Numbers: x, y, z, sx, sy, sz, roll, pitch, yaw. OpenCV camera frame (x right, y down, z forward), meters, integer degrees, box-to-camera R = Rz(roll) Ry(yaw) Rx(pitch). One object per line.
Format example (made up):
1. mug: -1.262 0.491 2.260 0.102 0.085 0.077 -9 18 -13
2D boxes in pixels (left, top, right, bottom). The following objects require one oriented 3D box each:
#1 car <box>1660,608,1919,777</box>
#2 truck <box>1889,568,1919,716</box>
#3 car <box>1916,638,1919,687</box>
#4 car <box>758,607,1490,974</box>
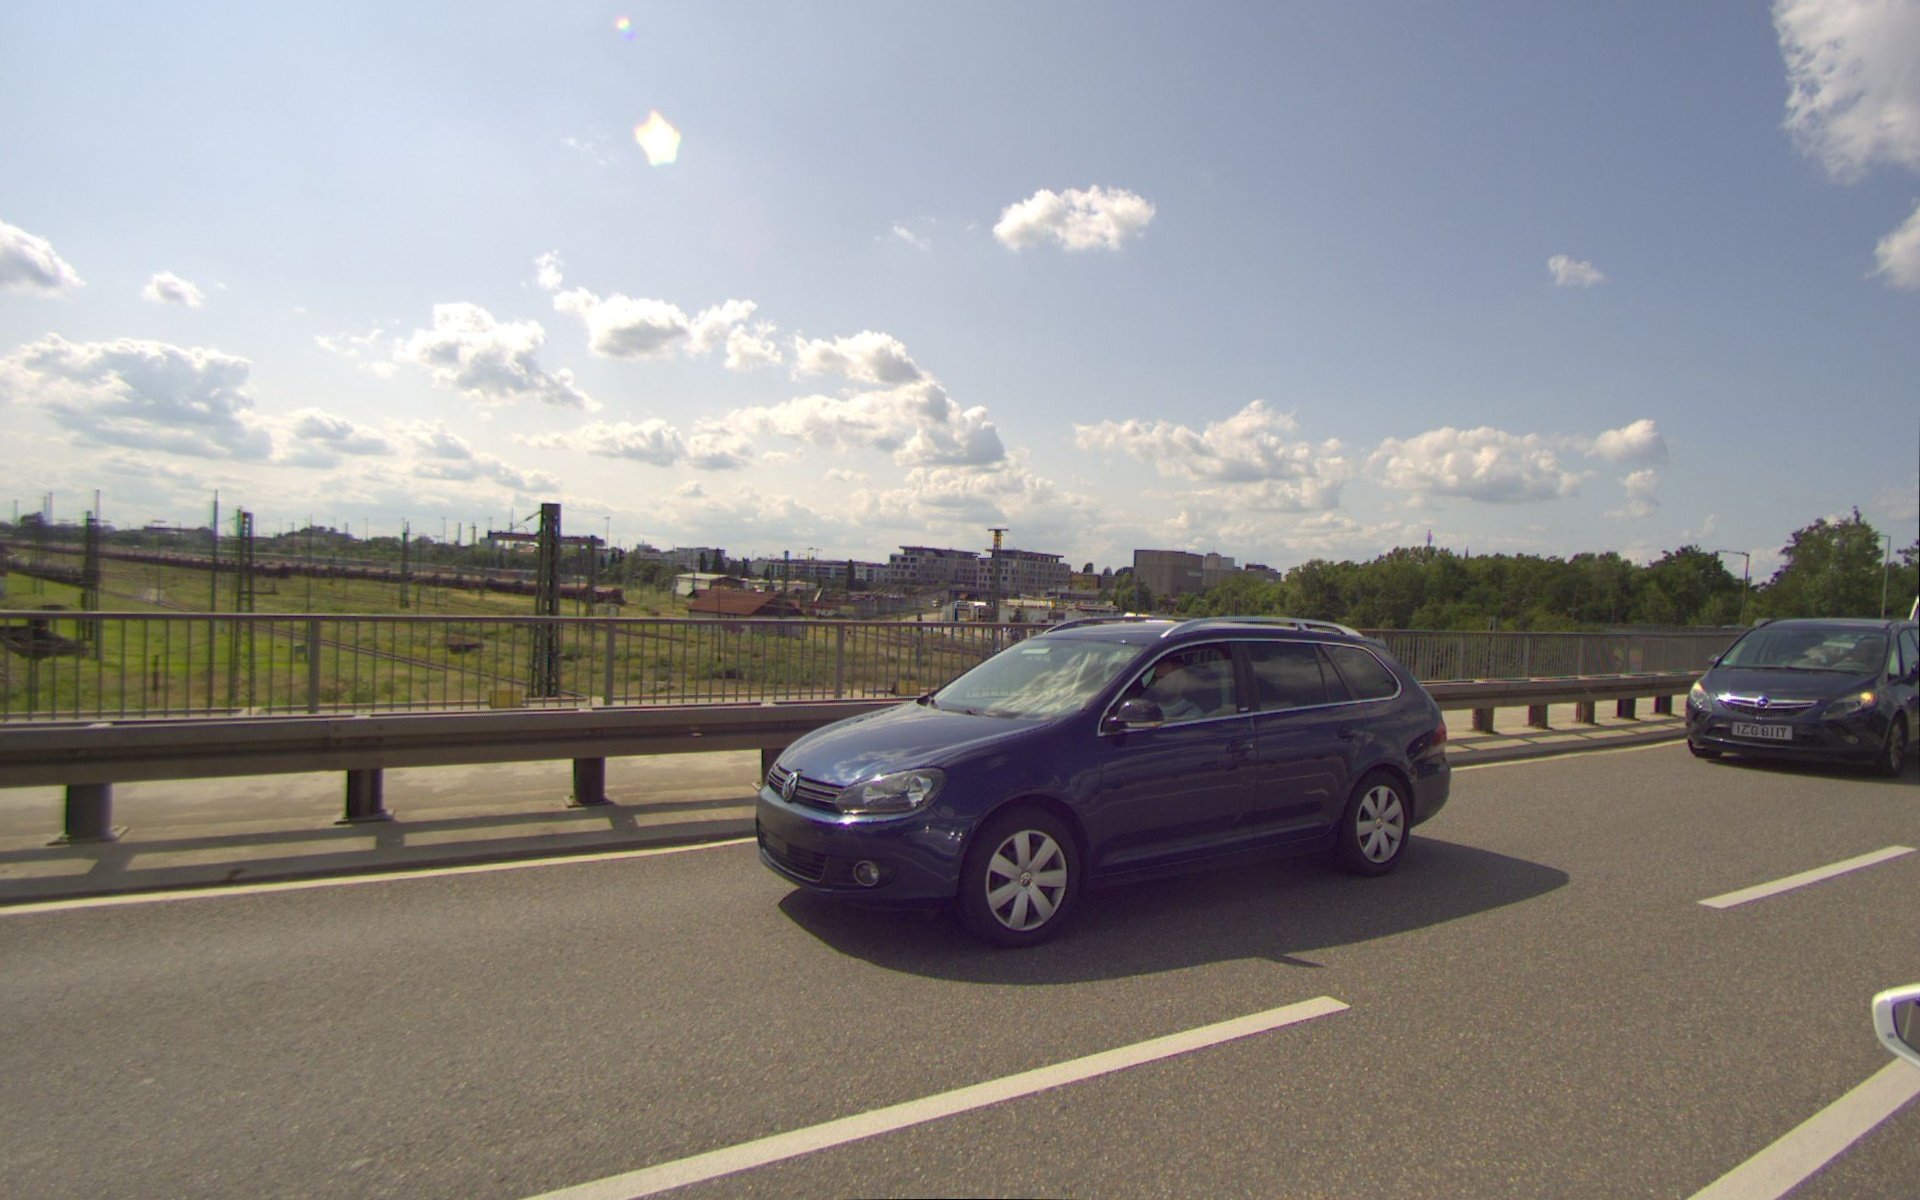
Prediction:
1. car: 10.161 0.972 11.776 4.381 1.653 1.707 2 -1 -33
2. truck: 19.110 0.778 18.750 5.901 2.541 1.976 1 -1 -41
3. car: 27.402 1.738 27.490 1.613 1.362 4.231 -1 -2 42
4. car: 1.146 0.817 5.923 4.280 1.473 1.649 1 -1 -33
